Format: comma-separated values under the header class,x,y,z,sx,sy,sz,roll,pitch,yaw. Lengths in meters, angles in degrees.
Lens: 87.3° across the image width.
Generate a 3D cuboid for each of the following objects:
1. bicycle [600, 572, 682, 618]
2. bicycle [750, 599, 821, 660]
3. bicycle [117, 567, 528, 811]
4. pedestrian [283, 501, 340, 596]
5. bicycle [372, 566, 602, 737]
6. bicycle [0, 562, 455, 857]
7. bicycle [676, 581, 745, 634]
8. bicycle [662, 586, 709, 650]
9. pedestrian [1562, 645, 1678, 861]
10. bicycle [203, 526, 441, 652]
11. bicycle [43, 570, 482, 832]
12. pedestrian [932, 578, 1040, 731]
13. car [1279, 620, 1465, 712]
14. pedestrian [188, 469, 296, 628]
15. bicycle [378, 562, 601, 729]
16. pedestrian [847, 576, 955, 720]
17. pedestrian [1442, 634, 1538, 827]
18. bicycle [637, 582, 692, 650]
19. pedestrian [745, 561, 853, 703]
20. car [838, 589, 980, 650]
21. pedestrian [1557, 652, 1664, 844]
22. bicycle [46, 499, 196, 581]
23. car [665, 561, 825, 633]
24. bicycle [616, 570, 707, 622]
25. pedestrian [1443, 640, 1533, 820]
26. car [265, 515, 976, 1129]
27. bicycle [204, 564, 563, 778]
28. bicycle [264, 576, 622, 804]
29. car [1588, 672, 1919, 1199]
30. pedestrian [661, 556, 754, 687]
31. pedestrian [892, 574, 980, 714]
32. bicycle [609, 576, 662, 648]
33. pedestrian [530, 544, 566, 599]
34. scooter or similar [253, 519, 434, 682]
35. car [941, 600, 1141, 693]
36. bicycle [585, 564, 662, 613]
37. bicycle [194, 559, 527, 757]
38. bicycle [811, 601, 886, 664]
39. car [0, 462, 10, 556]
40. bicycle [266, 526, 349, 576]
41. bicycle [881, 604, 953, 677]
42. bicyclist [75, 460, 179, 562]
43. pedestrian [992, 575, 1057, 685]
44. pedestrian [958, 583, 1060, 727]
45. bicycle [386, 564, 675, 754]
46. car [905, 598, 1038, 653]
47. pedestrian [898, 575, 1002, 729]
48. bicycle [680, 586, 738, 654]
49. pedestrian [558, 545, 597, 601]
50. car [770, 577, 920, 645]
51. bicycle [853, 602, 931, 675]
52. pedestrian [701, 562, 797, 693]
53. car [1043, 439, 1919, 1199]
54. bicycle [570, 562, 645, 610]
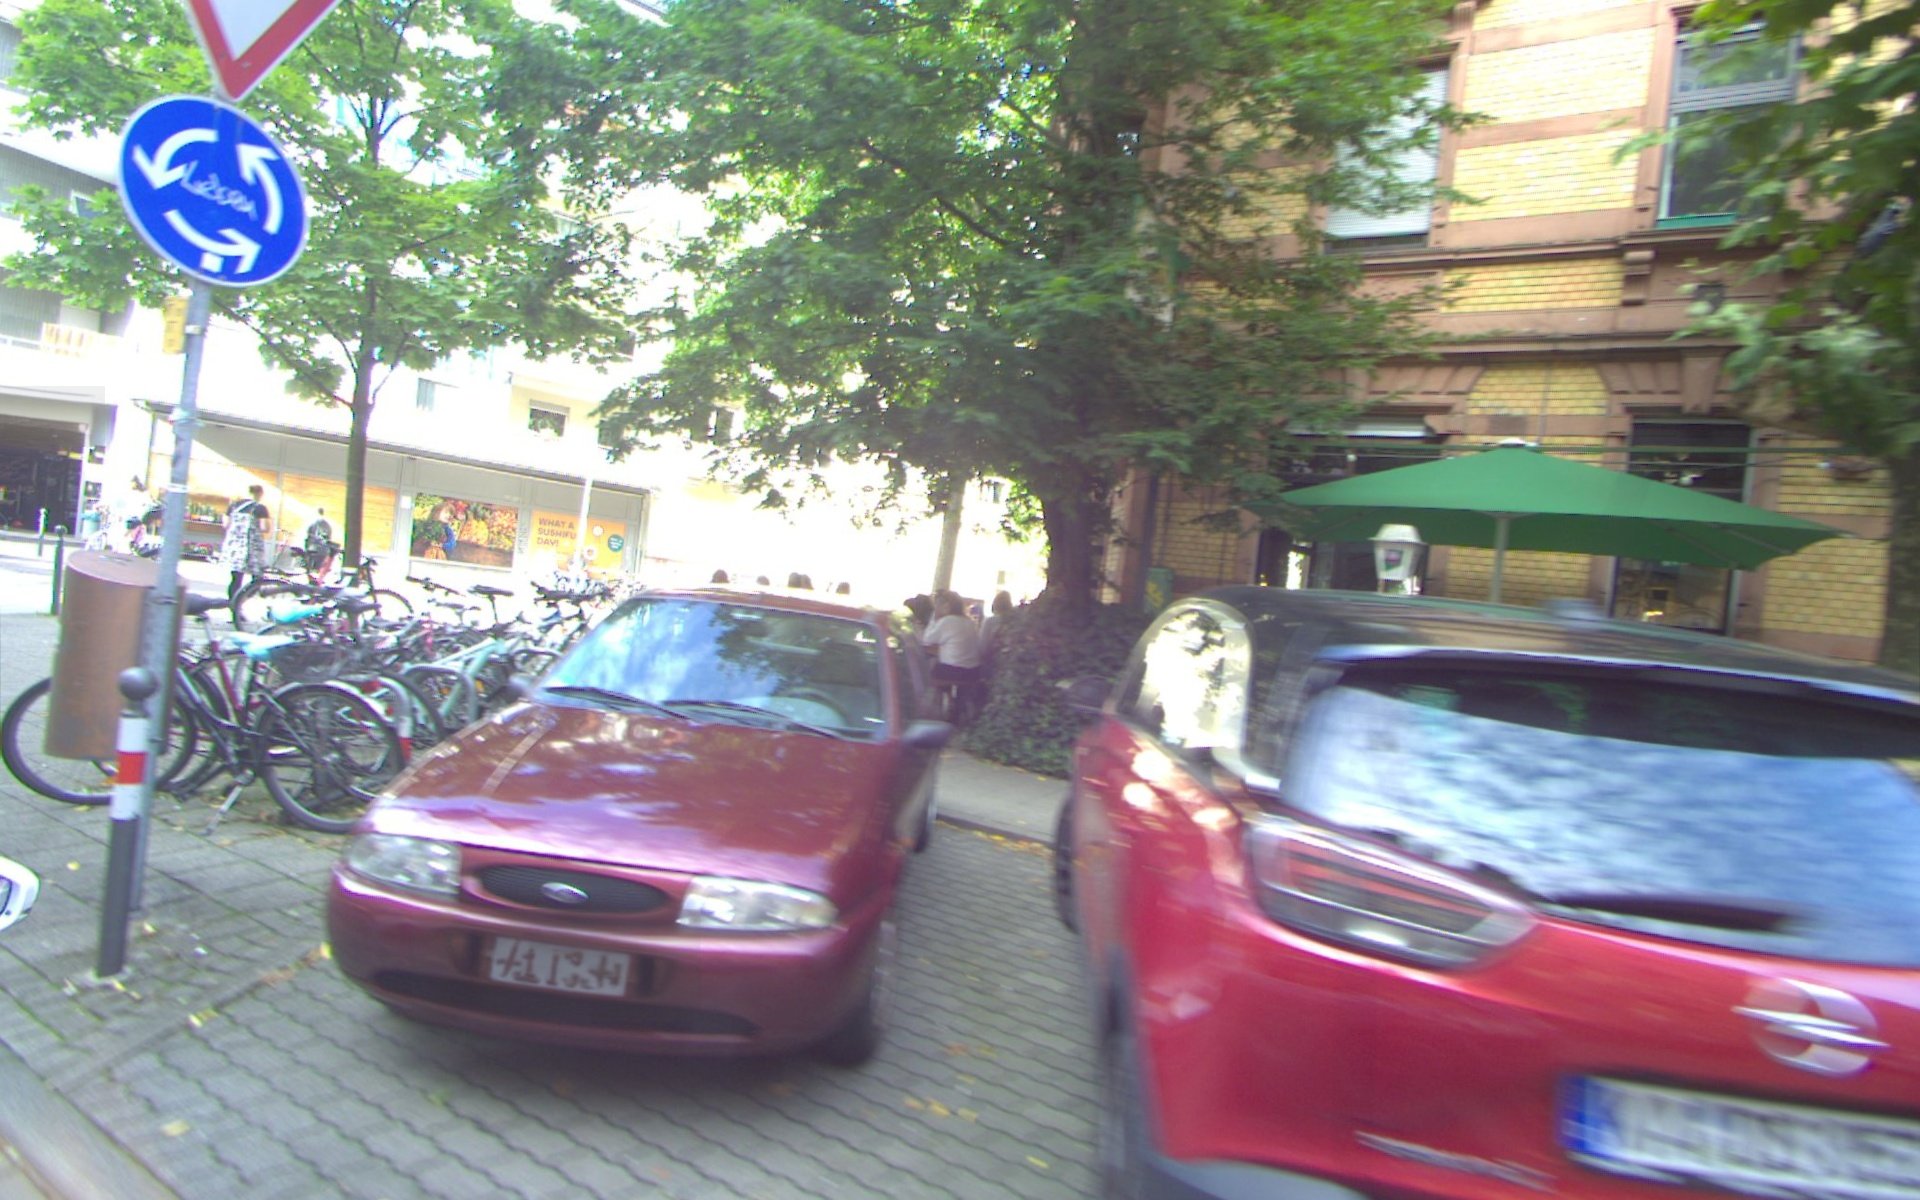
class,x,y,z,sx,sy,sz,roll,pitch,yaw
bicycle,-8.642,-0.119,27.351,0.740,1.045,2.059,8,1,31
bicycle,-3.329,0.541,19.089,0.477,1.024,1.601,6,-1,-42
bicycle,-3.391,0.454,5.377,1.980,1.054,0.347,6,4,3
pedestrian,-12.740,-1.006,19.749,0.765,1.761,0.627,7,1,42
bicycle,-3.360,0.357,7.178,1.429,1.054,0.336,6,4,1
bicycle,-3.330,0.452,4.488,1.822,1.054,0.549,6,4,1
bicycle,-6.546,0.207,26.480,1.553,1.154,0.568,10,-2,-44
bicycle,-5.015,0.306,18.292,0.337,1.066,2.028,6,-1,-27
pedestrian,5.505,1.246,8.436,0.553,1.664,0.646,7,3,26
bicycle,-6.594,-0.079,10.512,0.642,1.108,1.925,7,0,35
bicycle,-3.417,0.474,4.985,1.822,1.054,0.460,6,4,1
pedestrian,0.274,0.549,10.284,0.745,1.424,0.674,7,1,26
car,11.667,1.830,28.754,1.982,1.973,4.382,7,0,-36
pedestrian,-8.780,-0.615,12.337,0.773,1.802,0.789,6,1,-22
bicycle,-3.510,0.334,7.558,1.360,1.053,0.451,7,1,0
pedestrian,-0.608,0.495,10.496,0.745,1.375,0.674,7,1,26
pedestrian,4.711,1.136,8.973,0.560,1.590,0.629,7,1,26
bicycle,-5.292,0.262,17.953,0.475,1.116,2.014,6,-2,-27
pedestrian,-1.752,0.354,10.991,0.690,1.424,0.799,7,1,26
car,-1.621,0.630,32.245,3.926,1.440,1.999,7,0,22
pedestrian,5.810,1.291,9.020,0.560,1.590,0.629,7,1,26
bicycle,-15.404,-1.086,18.510,1.942,1.214,0.711,7,1,-10
car,-6.143,-0.075,28.825,3.927,1.529,1.999,7,0,23
bicycle,-7.934,-0.086,26.833,0.740,1.155,2.321,8,0,31
pedestrian,5.022,1.208,9.603,0.560,1.590,0.629,7,1,26
car,-0.918,0.632,4.738,1.736,1.475,3.944,7,0,2
bicycle,-3.445,0.408,6.065,1.870,1.054,0.444,6,4,1
bicycle,-2.900,0.486,5.671,1.822,1.054,0.347,6,4,3
car,3.444,1.113,1.920,1.906,1.475,4.417,7,0,6
pedestrian,-2.880,0.255,11.518,0.539,1.410,0.758,7,1,26
pedestrian,-0.258,0.477,10.986,0.625,1.424,0.574,7,1,23
bicycle,-5.738,0.185,17.727,0.425,1.170,1.984,6,-2,-28
pedestrian,-12.045,-0.840,29.382,0.745,1.498,0.581,6,2,-35
scooter or similar,-5.490,0.011,8.975,1.237,1.290,0.658,7,1,-36
car,1.579,0.919,20.962,1.981,1.404,3.962,7,0,-35
bicycle,-9.206,-0.288,27.621,0.477,1.155,2.141,8,1,30
bicycle,-3.854,0.360,6.504,1.885,1.054,0.389,6,4,1
bicycle,-2.240,0.633,20.031,0.424,1.094,1.830,6,-1,-41
car,-20.079,-1.947,17.499,4.763,1.747,2.038,7,2,-8
bicycle,-16.855,-1.261,26.006,1.661,1.063,0.455,7,1,-21
bicycle,-0.814,0.722,18.423,0.422,1.149,1.836,4,1,-30
bicyclist,-15.306,-1.608,18.517,0.999,1.689,0.942,7,1,-9
pedestrian,0.974,0.444,15.377,0.680,1.583,0.603,6,1,-11
pedestrian,0.535,0.589,10.880,0.745,1.424,0.674,7,1,26
bicycle,-2.913,0.389,6.870,1.764,1.089,0.354,6,4,1
car,0.392,0.873,34.055,3.927,1.337,1.999,7,0,23
pedestrian,-0.088,0.492,9.680,0.618,1.368,0.671,7,1,26
bicycle,-4.619,0.341,18.426,0.475,1.103,2.072,6,-1,-27
pedestrian,-11.409,-0.809,30.003,0.743,1.568,0.724,8,0,-34
car,-3.466,0.338,30.421,3.927,1.551,1.999,7,0,22
bicycle,-1.255,0.669,18.186,0.562,1.144,1.837,6,-1,-30
pedestrian,-2.357,0.316,11.282,0.586,1.359,0.758,7,1,26
car,1.268,0.696,3.331,1.787,1.667,4.352,7,2,4
bicycle,-9.710,-0.365,27.827,0.428,1.155,2.082,8,1,30
